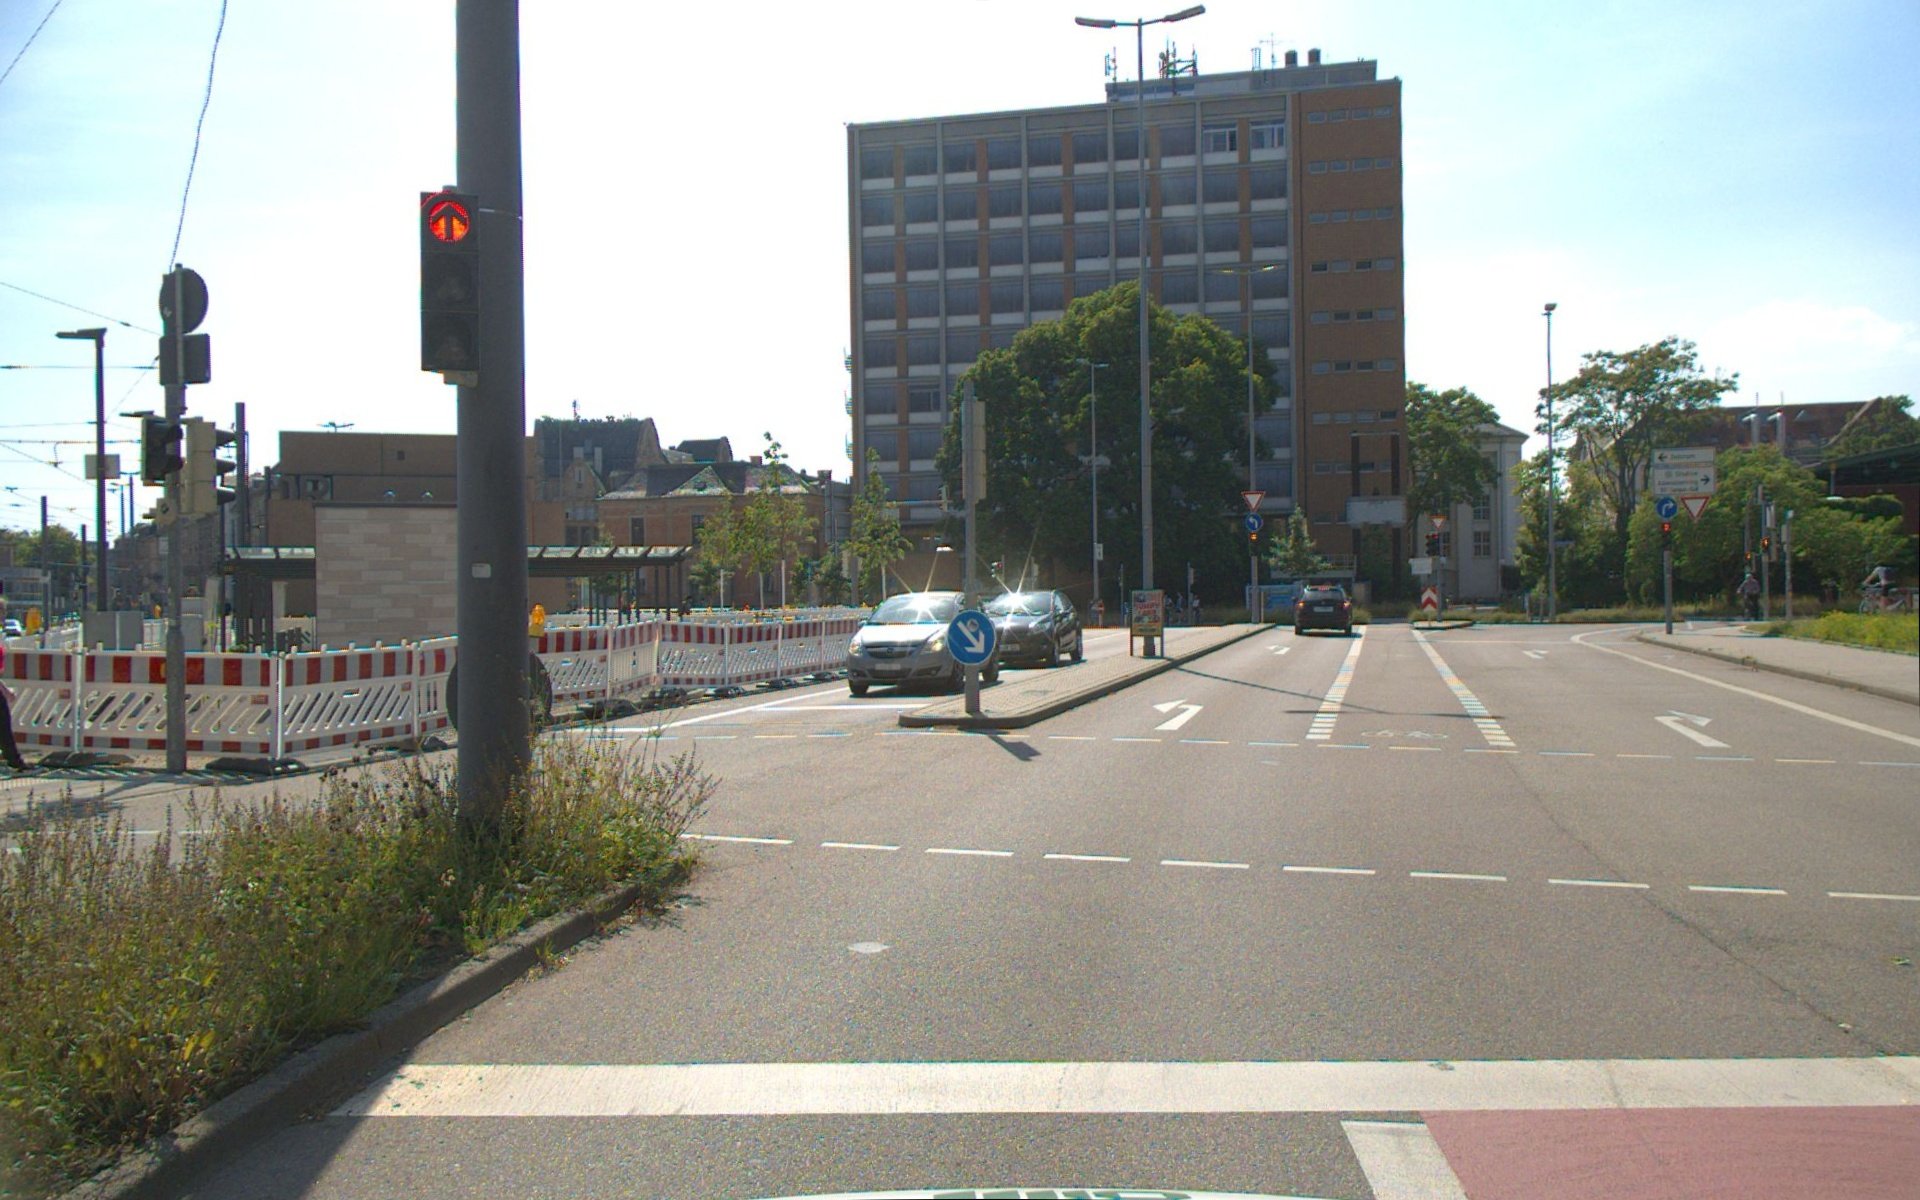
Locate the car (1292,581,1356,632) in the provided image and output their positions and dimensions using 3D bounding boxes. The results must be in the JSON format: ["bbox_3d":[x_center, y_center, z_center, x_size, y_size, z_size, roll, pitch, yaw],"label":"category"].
[{"bbox_3d":[11.183,0.176,50.700,1.742,1.468,3.821,1,1,15],"label":"car"}]

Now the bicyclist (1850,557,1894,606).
[{"bbox_3d":[28.474,-0.563,51.638,0.489,1.496,1.132,1,-1,-28],"label":"bicyclist"}]

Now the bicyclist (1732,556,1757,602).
[{"bbox_3d":[29.500,-0.799,62.189,0.663,1.684,0.919,-2,0,14],"label":"bicyclist"}]

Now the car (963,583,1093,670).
[{"bbox_3d":[1.401,0.482,32.567,1.631,1.476,3.821,-5,-1,15],"label":"car"}]

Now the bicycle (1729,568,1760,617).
[{"bbox_3d":[29.525,-0.290,62.239,0.663,1.796,1.812,-2,0,14],"label":"bicycle"}]

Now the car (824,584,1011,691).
[{"bbox_3d":[-0.557,0.517,25.255,1.756,1.436,4.003,-3,0,15],"label":"car"}]

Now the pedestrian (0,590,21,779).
[{"bbox_3d":[-8.609,0.739,14.440,0.677,1.644,0.347,-1,0,-32],"label":"pedestrian"}]

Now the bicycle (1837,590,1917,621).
[{"bbox_3d":[28.568,0.187,51.572,0.665,0.932,2.149,-2,0,-28],"label":"bicycle"}]

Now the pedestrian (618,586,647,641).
[{"bbox_3d":[-10.809,0.453,54.634,0.721,1.783,1.110,-2,-2,-1],"label":"pedestrian"}]

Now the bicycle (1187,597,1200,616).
[{"bbox_3d":[12.447,0.348,88.173,0.605,0.977,1.970,-4,0,10],"label":"bicycle"}]

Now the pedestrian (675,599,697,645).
[{"bbox_3d":[-9.279,0.734,56.018,0.618,1.518,0.616,-2,0,-2],"label":"pedestrian"}]

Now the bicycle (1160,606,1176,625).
[{"bbox_3d":[11.384,0.837,90.517,0.689,0.994,2.032,-2,0,12],"label":"bicycle"}]

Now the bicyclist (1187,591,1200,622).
[{"bbox_3d":[12.447,0.348,88.174,0.605,1.609,1.015,-4,0,10],"label":"bicyclist"}]

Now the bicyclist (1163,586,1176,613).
[{"bbox_3d":[11.469,-0.008,90.615,0.528,1.441,1.031,-2,-1,13],"label":"bicyclist"}]
